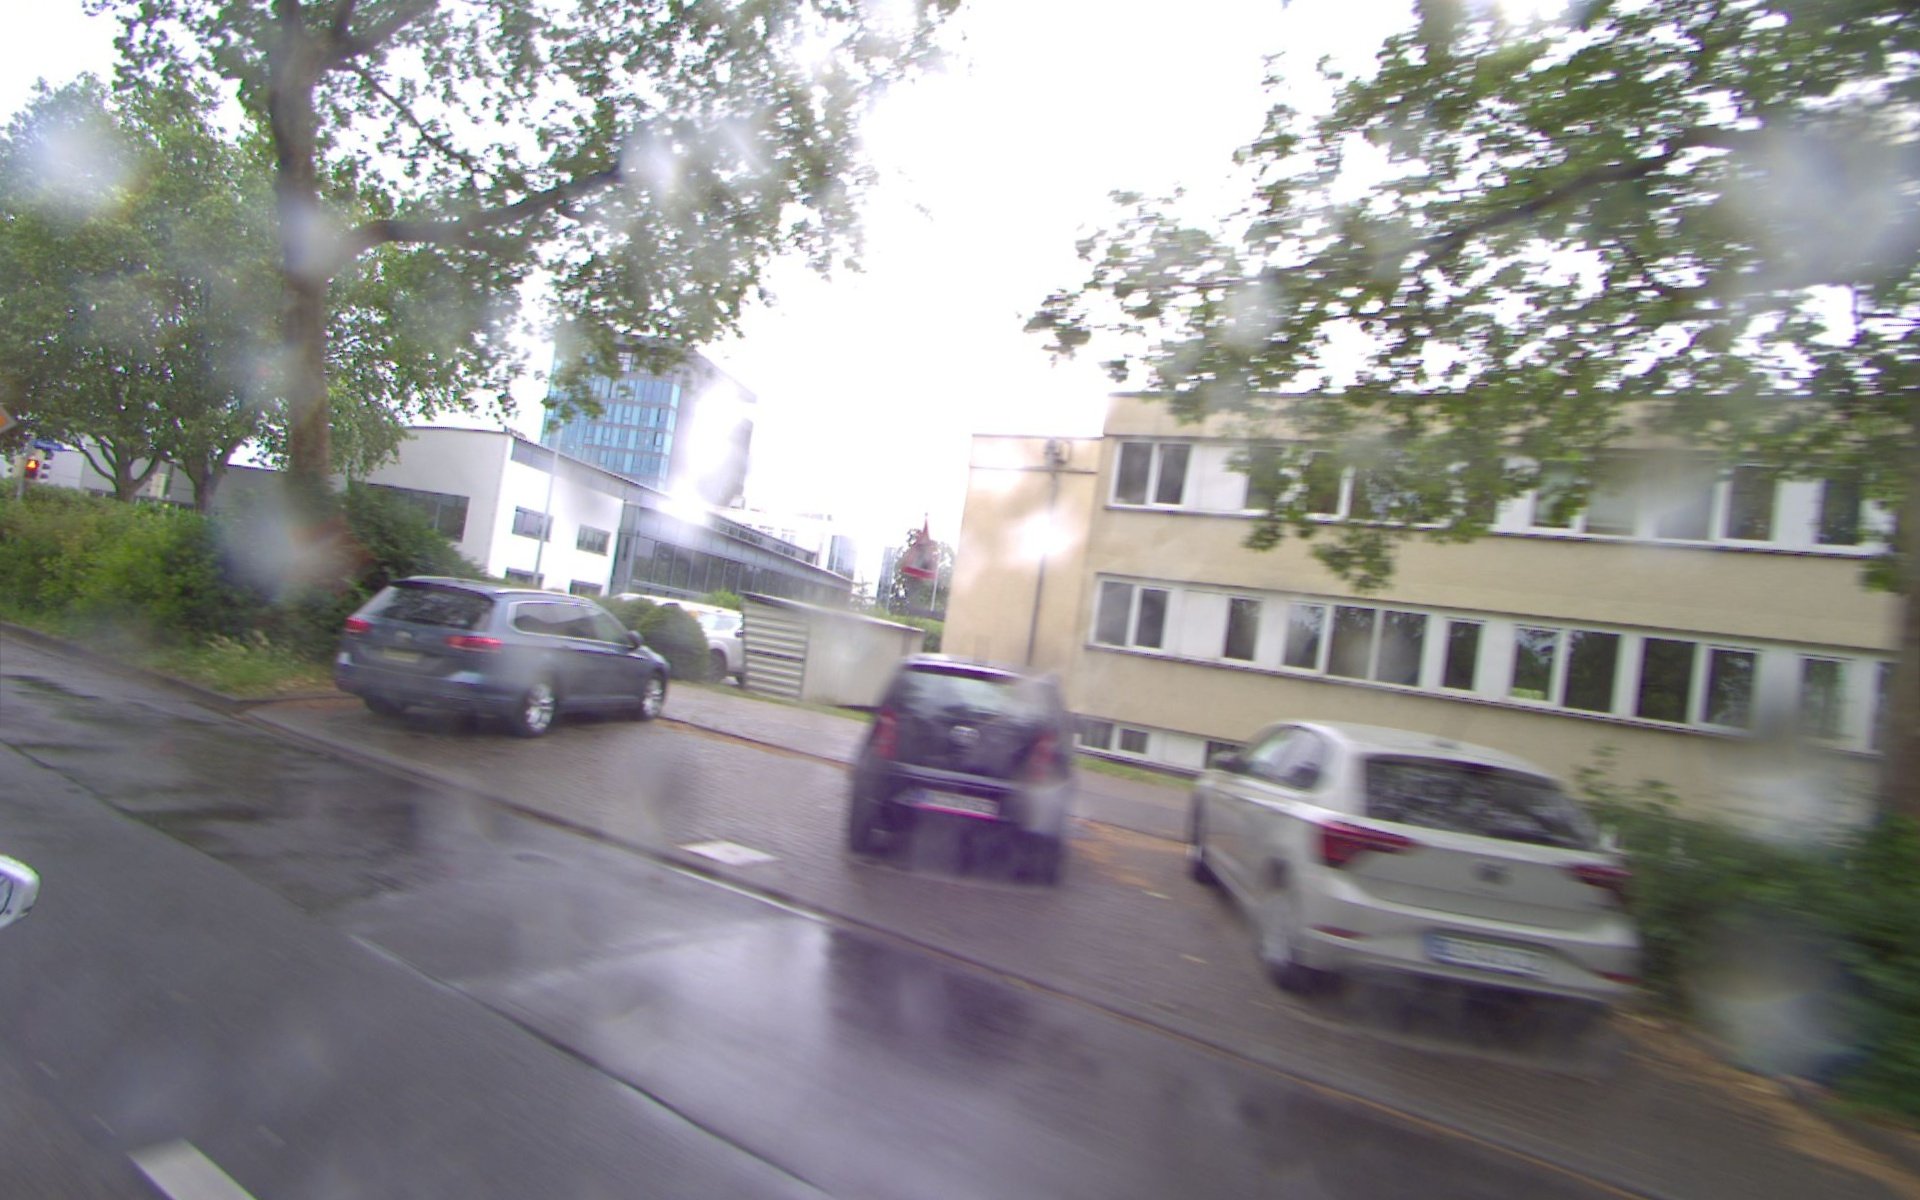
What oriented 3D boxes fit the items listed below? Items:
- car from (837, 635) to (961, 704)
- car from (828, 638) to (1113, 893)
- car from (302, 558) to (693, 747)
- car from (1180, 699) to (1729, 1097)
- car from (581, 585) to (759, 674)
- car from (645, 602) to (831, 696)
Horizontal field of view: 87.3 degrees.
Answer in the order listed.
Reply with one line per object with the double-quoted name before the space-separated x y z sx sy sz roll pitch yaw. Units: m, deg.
"car" -2.114 2.391 34.660 3.700 1.777 1.748 7 -3 30
"car" 0.170 1.199 8.513 1.716 1.432 3.698 8 -3 4
"car" -4.785 0.617 11.312 1.716 1.474 4.504 8 -3 7
"car" 2.691 1.551 6.513 1.742 1.432 3.698 8 -3 4
"car" -7.557 0.843 26.703 1.749 1.776 4.554 7 -3 26
"car" -5.326 1.275 24.766 1.719 1.776 4.551 7 -3 29
